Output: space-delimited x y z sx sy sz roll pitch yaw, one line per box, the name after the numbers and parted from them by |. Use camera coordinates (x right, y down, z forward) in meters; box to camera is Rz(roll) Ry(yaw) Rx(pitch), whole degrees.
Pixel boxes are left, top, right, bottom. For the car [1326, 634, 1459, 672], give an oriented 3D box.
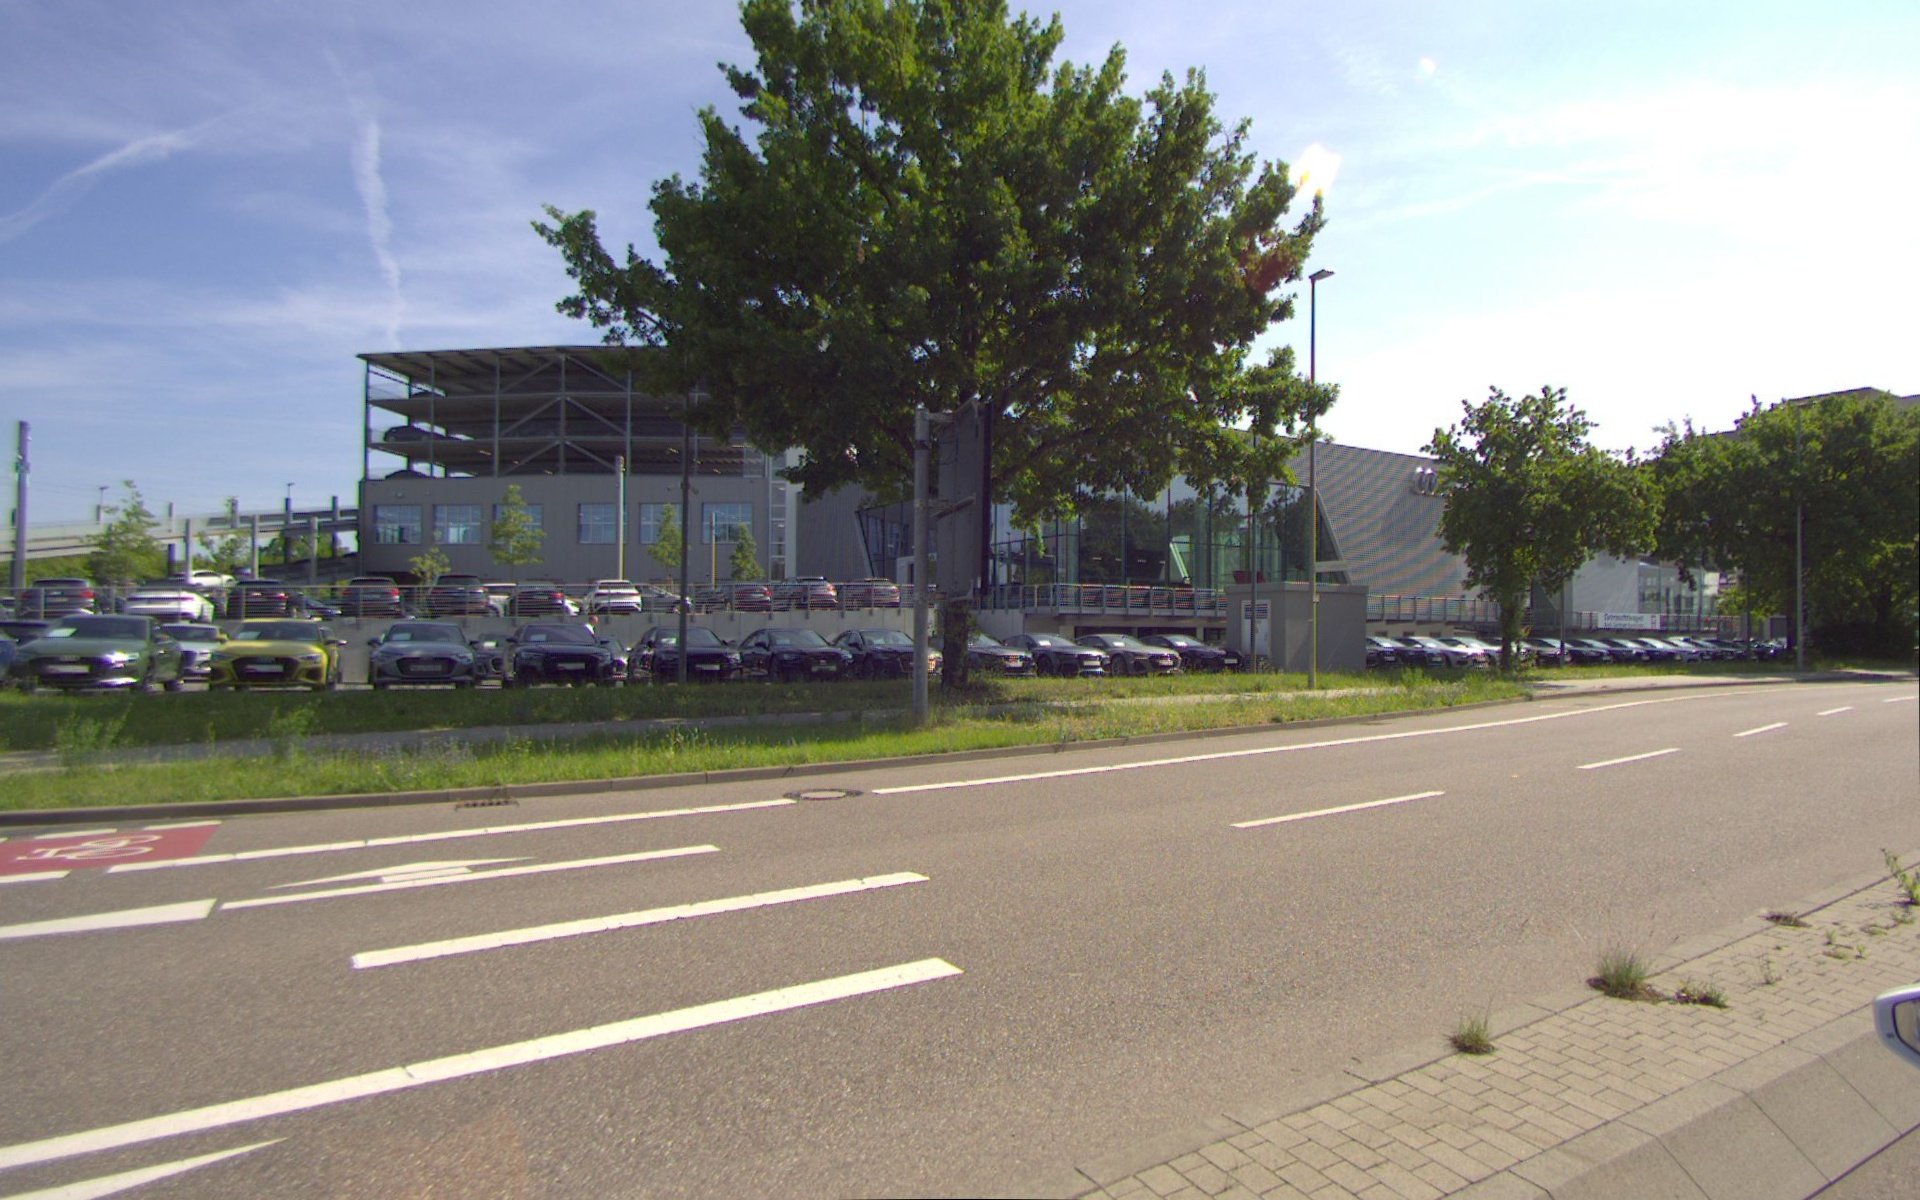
15.172 1.901 35.423 1.876 1.171 3.968 1 -5 -32 | car

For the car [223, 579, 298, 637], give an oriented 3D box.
-22.160 0.305 31.938 1.646 1.728 4.246 1 -2 -31 | car

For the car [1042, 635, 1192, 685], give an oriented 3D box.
4.511 1.713 29.539 1.982 1.307 4.476 1 -2 -32 | car

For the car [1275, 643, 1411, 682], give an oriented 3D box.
12.919 2.145 34.109 1.876 1.171 3.968 1 -5 -32 | car

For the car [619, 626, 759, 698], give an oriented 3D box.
-6.378 1.355 23.268 1.958 1.495 4.476 1 -2 -32 | car

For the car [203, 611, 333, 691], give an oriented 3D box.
-13.126 0.990 19.262 1.820 1.358 3.868 1 -4 -31 | car

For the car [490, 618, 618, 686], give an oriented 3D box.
-8.759 1.121 21.512 1.963 1.302 3.661 1 -4 -32 | car

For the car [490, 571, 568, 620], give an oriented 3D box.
-15.544 -0.107 36.125 1.958 1.571 4.476 1 -2 -32 | car

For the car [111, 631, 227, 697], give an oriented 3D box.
-20.239 1.585 25.870 1.870 1.437 3.965 1 0 -32 | car

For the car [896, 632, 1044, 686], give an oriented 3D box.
0.168 1.531 27.038 1.898 1.307 4.476 1 -2 -31 | car

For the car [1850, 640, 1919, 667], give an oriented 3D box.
53.750 3.027 57.460 1.638 1.437 3.863 0 -5 -26 | car

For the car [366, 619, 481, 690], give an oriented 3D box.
-10.923 1.107 20.338 1.844 1.302 3.576 1 -4 -32 | car

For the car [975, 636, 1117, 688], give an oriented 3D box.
2.326 1.693 28.305 1.673 1.307 4.476 1 -2 -31 | car

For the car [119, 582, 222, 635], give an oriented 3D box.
-24.302 0.317 31.080 1.958 1.504 4.476 1 -2 -32 | car

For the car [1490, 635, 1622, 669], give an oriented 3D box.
24.082 2.125 40.734 1.933 1.205 4.154 1 -5 -32 | car

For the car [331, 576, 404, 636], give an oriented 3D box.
-19.754 0.258 33.455 1.958 1.839 4.476 1 -2 -32 | car

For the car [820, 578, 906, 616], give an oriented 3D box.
-4.171 -0.127 42.693 1.963 1.515 4.498 1 0 -30 | car

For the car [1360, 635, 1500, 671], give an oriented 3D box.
17.101 1.957 36.729 2.064 1.171 4.154 1 -5 -32 | car

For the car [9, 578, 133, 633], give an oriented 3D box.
-26.226 0.223 29.795 1.958 1.504 4.476 1 -2 -32 | car

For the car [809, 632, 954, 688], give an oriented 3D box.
-2.104 1.473 25.724 1.898 1.307 4.476 1 -2 -31 | car

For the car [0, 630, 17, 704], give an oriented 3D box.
-17.179 1.111 16.491 1.725 1.302 3.576 1 -4 -31 | car

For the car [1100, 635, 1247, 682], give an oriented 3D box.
6.447 1.736 30.798 1.898 1.307 4.476 1 -2 -31 | car

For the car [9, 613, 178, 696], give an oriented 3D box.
-15.163 0.962 17.787 1.644 1.302 3.723 1 -4 -31 | car

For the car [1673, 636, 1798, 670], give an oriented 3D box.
37.369 2.570 48.525 2.027 1.460 4.286 1 -5 -30 | car

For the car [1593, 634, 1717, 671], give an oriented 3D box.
30.509 2.352 44.212 1.976 1.460 3.972 1 -5 -29 | car

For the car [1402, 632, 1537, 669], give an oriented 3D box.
19.233 1.941 38.116 1.933 1.205 4.154 1 -5 -32 | car

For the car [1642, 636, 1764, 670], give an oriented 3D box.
34.883 2.520 47.270 1.976 1.460 4.124 1 -5 -29 | car

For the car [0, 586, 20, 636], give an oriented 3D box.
-28.377 0.307 28.305 1.870 1.437 4.475 1 0 -32 | car

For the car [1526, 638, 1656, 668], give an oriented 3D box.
26.301 2.228 41.980 1.933 1.091 4.154 1 -5 -32 | car

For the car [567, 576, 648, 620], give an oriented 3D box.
-13.270 -0.012 37.628 1.958 1.504 4.476 1 -2 -32 | car

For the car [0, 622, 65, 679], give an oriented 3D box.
-23.159 1.222 24.122 1.844 1.302 3.576 1 -4 -32 | car

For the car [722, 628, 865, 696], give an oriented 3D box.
-4.170 1.445 24.577 1.898 1.495 4.476 1 -2 -31 | car

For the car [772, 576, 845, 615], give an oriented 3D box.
-6.275 -0.174 41.308 1.648 1.515 3.968 1 0 -30 | car

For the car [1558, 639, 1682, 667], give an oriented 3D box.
28.023 2.267 42.789 1.678 1.047 4.088 1 -5 -32 | car

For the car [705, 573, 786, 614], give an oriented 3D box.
-8.566 -0.240 39.874 2.027 1.515 3.968 1 0 -30 | car

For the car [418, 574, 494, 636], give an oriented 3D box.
-17.504 0.240 34.805 1.958 1.988 4.476 1 -2 -32 | car

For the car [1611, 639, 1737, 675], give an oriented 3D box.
32.568 2.643 45.928 1.976 1.460 4.232 1 -5 -29 | car

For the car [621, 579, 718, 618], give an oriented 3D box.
-12.845 -0.038 44.401 3.745 1.594 1.941 1 0 -31 | car

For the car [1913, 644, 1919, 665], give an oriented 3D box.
61.599 3.290 61.832 1.824 1.350 3.863 0 -5 -26 | car

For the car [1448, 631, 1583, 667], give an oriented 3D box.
21.566 1.934 39.154 1.933 1.205 4.154 1 -5 -32 | car
